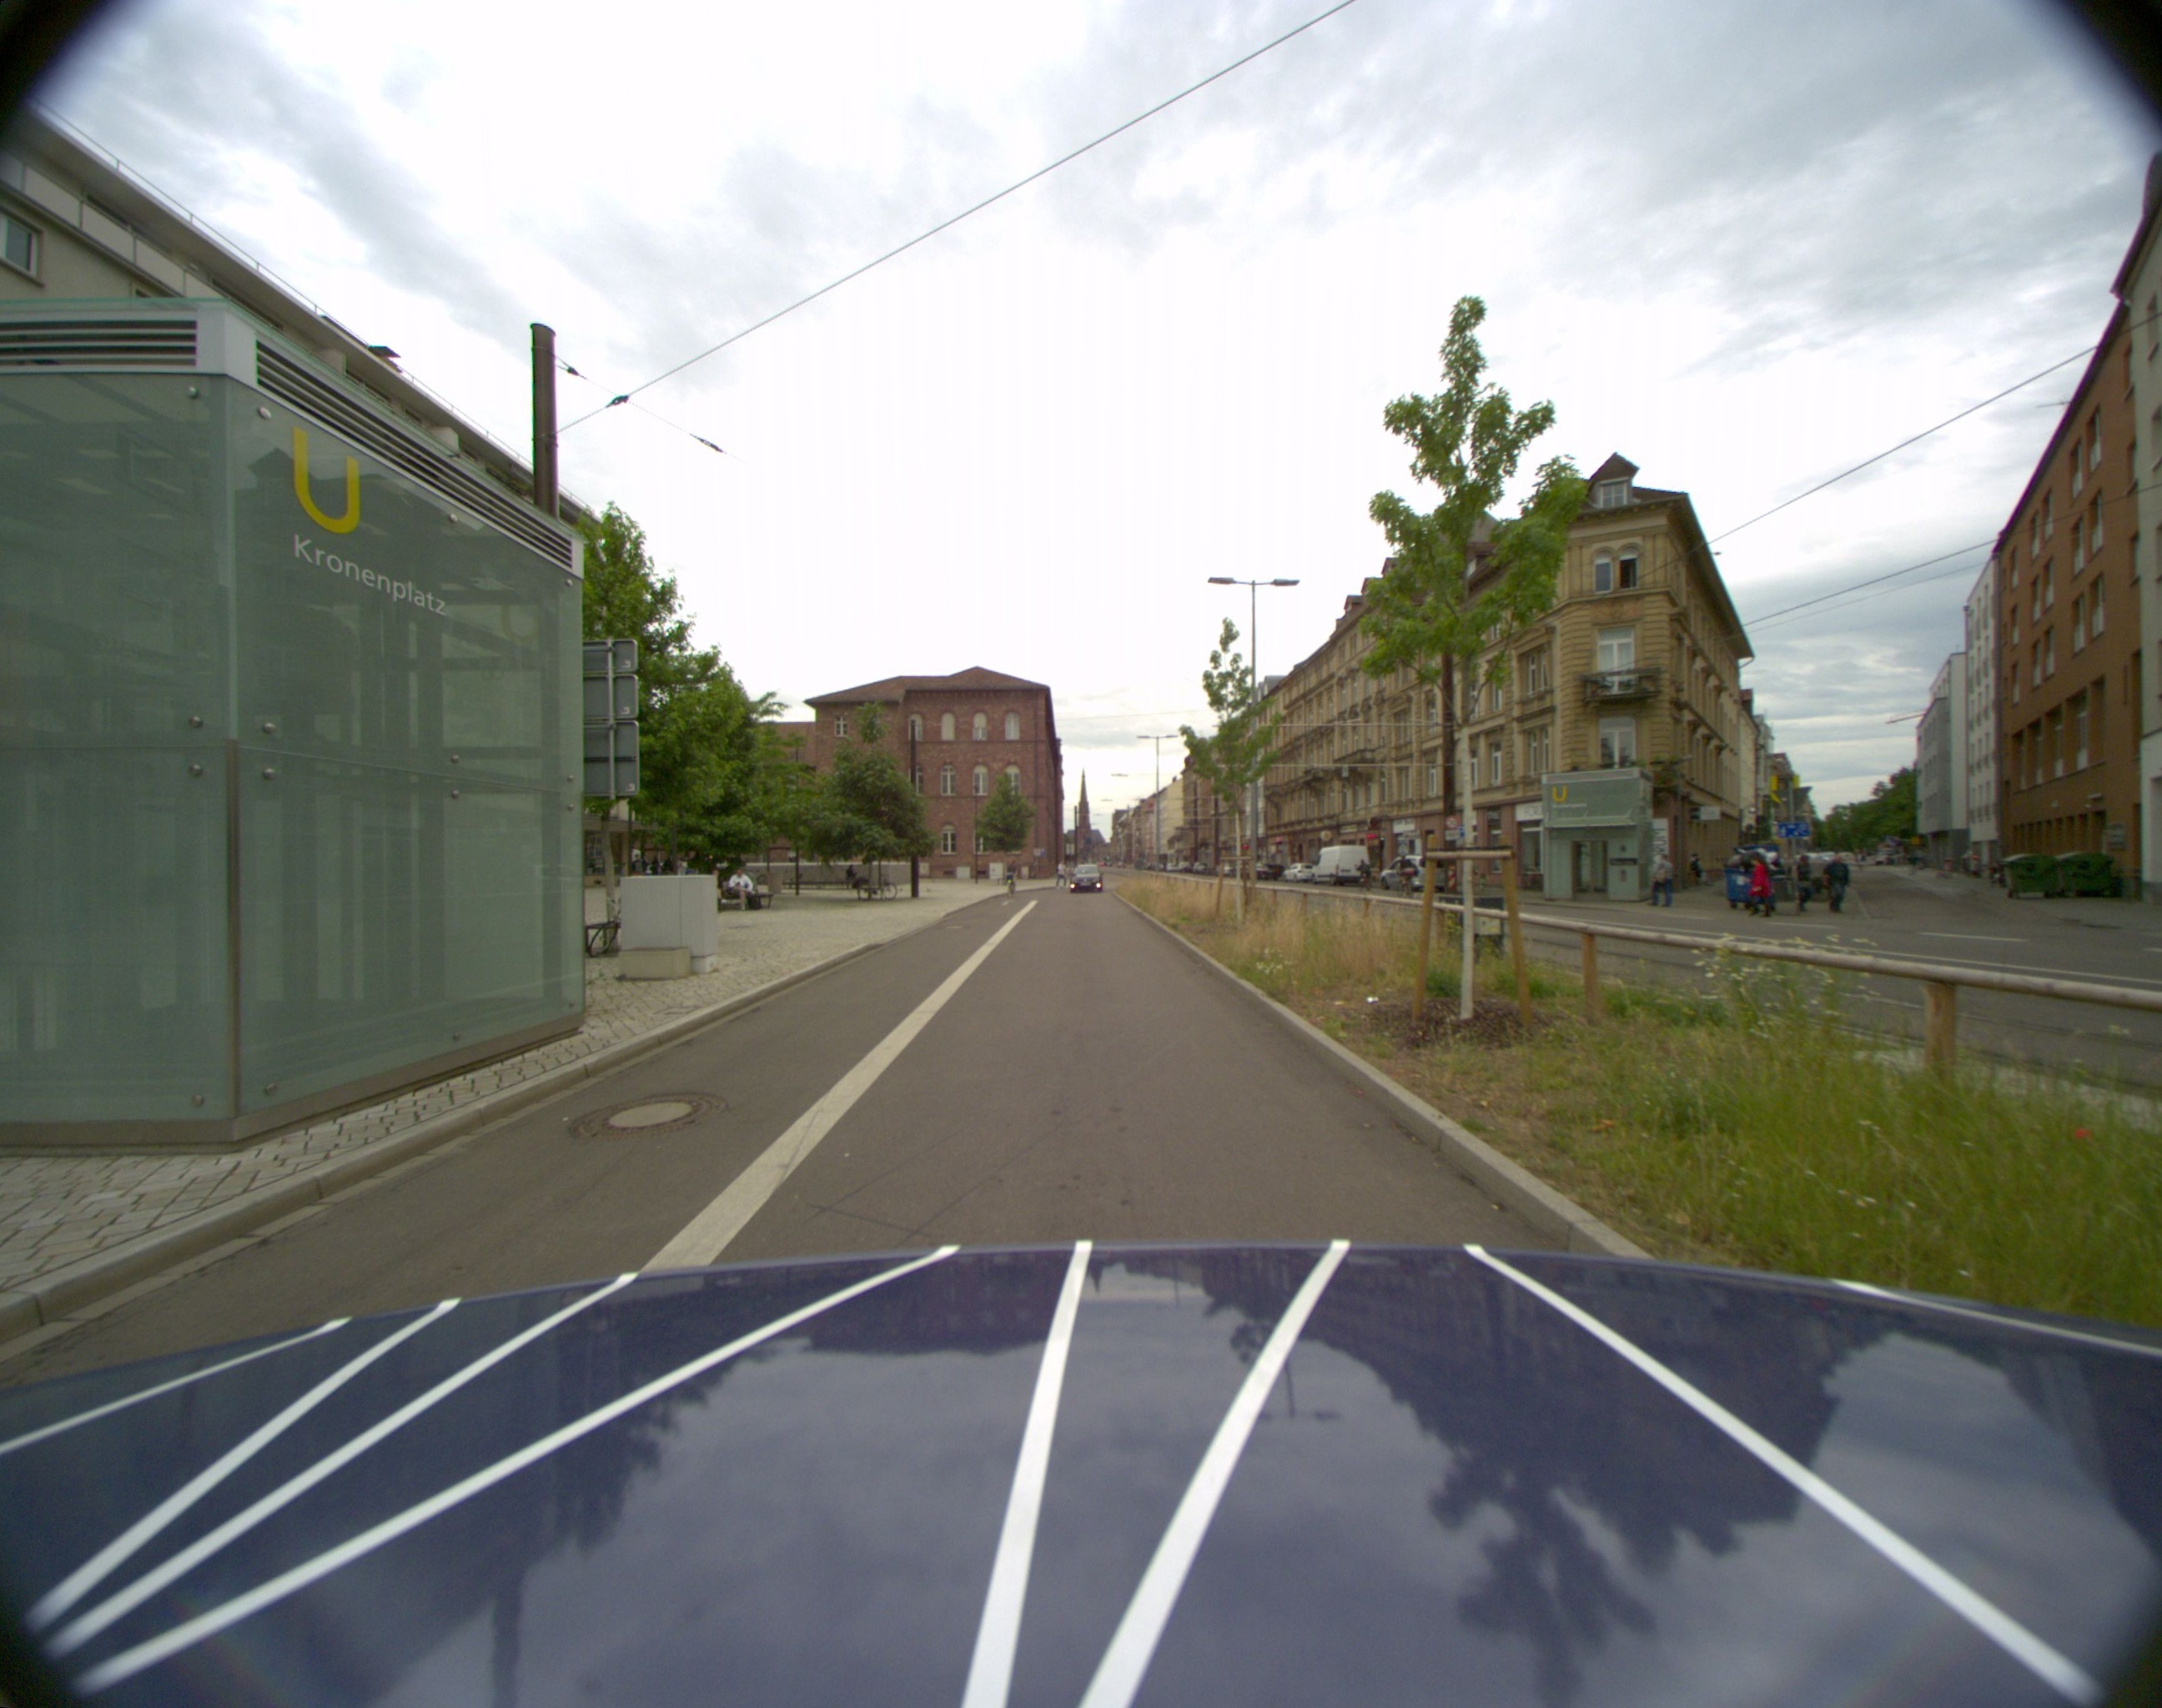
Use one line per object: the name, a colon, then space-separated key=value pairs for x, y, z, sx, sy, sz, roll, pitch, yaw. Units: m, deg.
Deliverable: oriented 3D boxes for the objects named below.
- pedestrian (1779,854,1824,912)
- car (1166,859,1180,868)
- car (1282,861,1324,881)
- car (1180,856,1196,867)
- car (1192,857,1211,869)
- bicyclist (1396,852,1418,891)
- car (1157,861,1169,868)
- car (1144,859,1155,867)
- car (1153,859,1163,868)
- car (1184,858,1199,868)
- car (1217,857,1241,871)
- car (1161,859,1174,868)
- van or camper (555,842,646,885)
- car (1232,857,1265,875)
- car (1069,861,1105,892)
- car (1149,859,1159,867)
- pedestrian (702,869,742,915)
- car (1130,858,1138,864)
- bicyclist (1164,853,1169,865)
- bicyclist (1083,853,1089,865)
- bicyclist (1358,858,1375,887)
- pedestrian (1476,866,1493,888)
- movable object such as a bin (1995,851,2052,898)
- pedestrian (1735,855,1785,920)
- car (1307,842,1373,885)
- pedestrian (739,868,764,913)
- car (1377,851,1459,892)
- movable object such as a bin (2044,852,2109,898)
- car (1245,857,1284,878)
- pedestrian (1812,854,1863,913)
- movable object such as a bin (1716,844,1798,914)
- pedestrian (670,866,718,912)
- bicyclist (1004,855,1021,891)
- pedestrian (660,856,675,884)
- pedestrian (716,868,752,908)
pedestrian: x=21.412 y=0.847 z=22.592 sx=0.661 sy=1.677 sz=0.723 roll=0 pitch=2 yaw=15
car: x=15.738 y=1.569 z=130.041 sx=1.748 sy=1.456 sz=4.046 roll=0 pitch=-1 yaw=-1
car: x=16.334 y=1.221 z=56.131 sx=1.775 sy=1.414 sz=4.164 roll=2 pitch=0 yaw=-2
car: x=16.237 y=1.163 z=115.750 sx=1.748 sy=1.662 sz=4.046 roll=0 pitch=-1 yaw=-1
car: x=15.933 y=1.174 z=100.537 sx=1.748 sy=1.524 sz=4.225 roll=0 pitch=-1 yaw=-1
bicyclist: x=13.147 y=0.696 z=30.641 sx=0.492 sy=1.531 sz=0.812 roll=0 pitch=0 yaw=-2
car: x=16.133 y=2.016 z=149.671 sx=1.651 sy=1.372 sz=3.435 roll=0 pitch=-1 yaw=-4
car: x=15.804 y=2.039 z=175.764 sx=1.928 sy=1.722 sz=3.826 roll=-2 pitch=0 yaw=-1
car: x=15.668 y=1.850 z=154.005 sx=1.707 sy=1.746 sz=3.920 roll=0 pitch=0 yaw=1
car: x=16.124 y=1.298 z=110.962 sx=1.748 sy=1.479 sz=3.920 roll=0 pitch=-1 yaw=0
car: x=16.083 y=1.107 z=82.527 sx=1.748 sy=1.479 sz=3.920 roll=0 pitch=-1 yaw=-1
car: x=15.313 y=1.633 z=134.568 sx=1.829 sy=1.512 sz=4.545 roll=0 pitch=-1 yaw=0
van or camper: x=-32.330 y=0.612 z=51.441 sx=1.999 sy=2.703 sz=6.560 roll=-2 pitch=0 yaw=0
car: x=16.342 y=1.123 z=74.395 sx=1.818 sy=1.679 sz=5.030 roll=0 pitch=-1 yaw=-3
car: x=0.284 y=1.156 z=40.663 sx=1.747 sy=1.538 sz=3.650 roll=-1 pitch=0 yaw=-2
car: x=15.732 y=2.015 z=164.186 sx=1.705 sy=1.662 sz=4.181 roll=-2 pitch=0 yaw=1
pedestrian: x=-11.049 y=1.148 z=23.423 sx=0.628 sy=1.358 sz=0.920 roll=-2 pitch=0 yaw=17
car: x=14.503 y=1.773 z=206.243 sx=1.868 sy=1.553 sz=4.000 roll=1 pitch=0 yaw=0
bicyclist: x=13.820 y=0.789 z=123.075 sx=0.647 sy=1.872 sz=1.028 roll=-2 pitch=0 yaw=1
bicyclist: x=0.516 y=0.517 z=79.841 sx=0.587 sy=1.164 sz=0.662 roll=0 pitch=0 yaw=-1
bicyclist: x=13.915 y=0.889 z=37.012 sx=0.480 sy=1.398 sz=0.812 roll=0 pitch=0 yaw=-2
pedestrian: x=19.158 y=1.096 z=36.063 sx=0.554 sy=1.025 sz=0.453 roll=-2 pitch=0 yaw=8
movable object such as a bin: x=30.821 y=0.660 z=24.880 sx=0.944 sy=1.492 sz=1.241 roll=-1 pitch=0 yaw=41
pedestrian: x=18.081 y=0.881 z=20.253 sx=0.723 sy=1.677 sz=0.661 roll=-1 pitch=2 yaw=-11
car: x=16.319 y=0.581 z=48.247 sx=2.058 sy=2.472 sz=5.665 roll=2 pitch=0 yaw=-2
pedestrian: x=-10.269 y=1.129 z=23.706 sx=0.630 sy=1.358 sz=0.686 roll=-2 pitch=0 yaw=-19
car: x=16.574 y=0.828 z=37.662 sx=1.908 sy=1.853 sz=4.519 roll=1 pitch=0 yaw=-2
movable object such as a bin: x=31.529 y=0.659 z=24.092 sx=1.008 sy=1.397 sz=1.241 roll=-1 pitch=0 yaw=41
car: x=15.741 y=1.136 z=65.488 sx=1.924 sy=1.679 sz=5.051 roll=2 pitch=0 yaw=-2
pedestrian: x=22.210 y=0.856 z=22.336 sx=0.661 sy=1.677 sz=0.924 roll=0 pitch=2 yaw=15
movable object such as a bin: x=20.040 y=0.710 z=22.584 sx=1.033 sy=1.970 sz=1.617 roll=0 pitch=2 yaw=6
pedestrian: x=-11.851 y=1.058 z=23.296 sx=0.543 sy=1.358 sz=1.282 roll=-2 pitch=0 yaw=17
bicyclist: x=-3.197 y=0.884 z=35.400 sx=0.570 sy=1.674 sz=0.794 roll=-1 pitch=0 yaw=8
pedestrian: x=-28.213 y=1.063 z=51.837 sx=0.664 sy=1.878 sz=0.534 roll=-2 pitch=0 yaw=-4
pedestrian: x=-12.301 y=1.195 z=26.952 sx=0.629 sy=1.358 sz=1.409 roll=-2 pitch=0 yaw=-1
